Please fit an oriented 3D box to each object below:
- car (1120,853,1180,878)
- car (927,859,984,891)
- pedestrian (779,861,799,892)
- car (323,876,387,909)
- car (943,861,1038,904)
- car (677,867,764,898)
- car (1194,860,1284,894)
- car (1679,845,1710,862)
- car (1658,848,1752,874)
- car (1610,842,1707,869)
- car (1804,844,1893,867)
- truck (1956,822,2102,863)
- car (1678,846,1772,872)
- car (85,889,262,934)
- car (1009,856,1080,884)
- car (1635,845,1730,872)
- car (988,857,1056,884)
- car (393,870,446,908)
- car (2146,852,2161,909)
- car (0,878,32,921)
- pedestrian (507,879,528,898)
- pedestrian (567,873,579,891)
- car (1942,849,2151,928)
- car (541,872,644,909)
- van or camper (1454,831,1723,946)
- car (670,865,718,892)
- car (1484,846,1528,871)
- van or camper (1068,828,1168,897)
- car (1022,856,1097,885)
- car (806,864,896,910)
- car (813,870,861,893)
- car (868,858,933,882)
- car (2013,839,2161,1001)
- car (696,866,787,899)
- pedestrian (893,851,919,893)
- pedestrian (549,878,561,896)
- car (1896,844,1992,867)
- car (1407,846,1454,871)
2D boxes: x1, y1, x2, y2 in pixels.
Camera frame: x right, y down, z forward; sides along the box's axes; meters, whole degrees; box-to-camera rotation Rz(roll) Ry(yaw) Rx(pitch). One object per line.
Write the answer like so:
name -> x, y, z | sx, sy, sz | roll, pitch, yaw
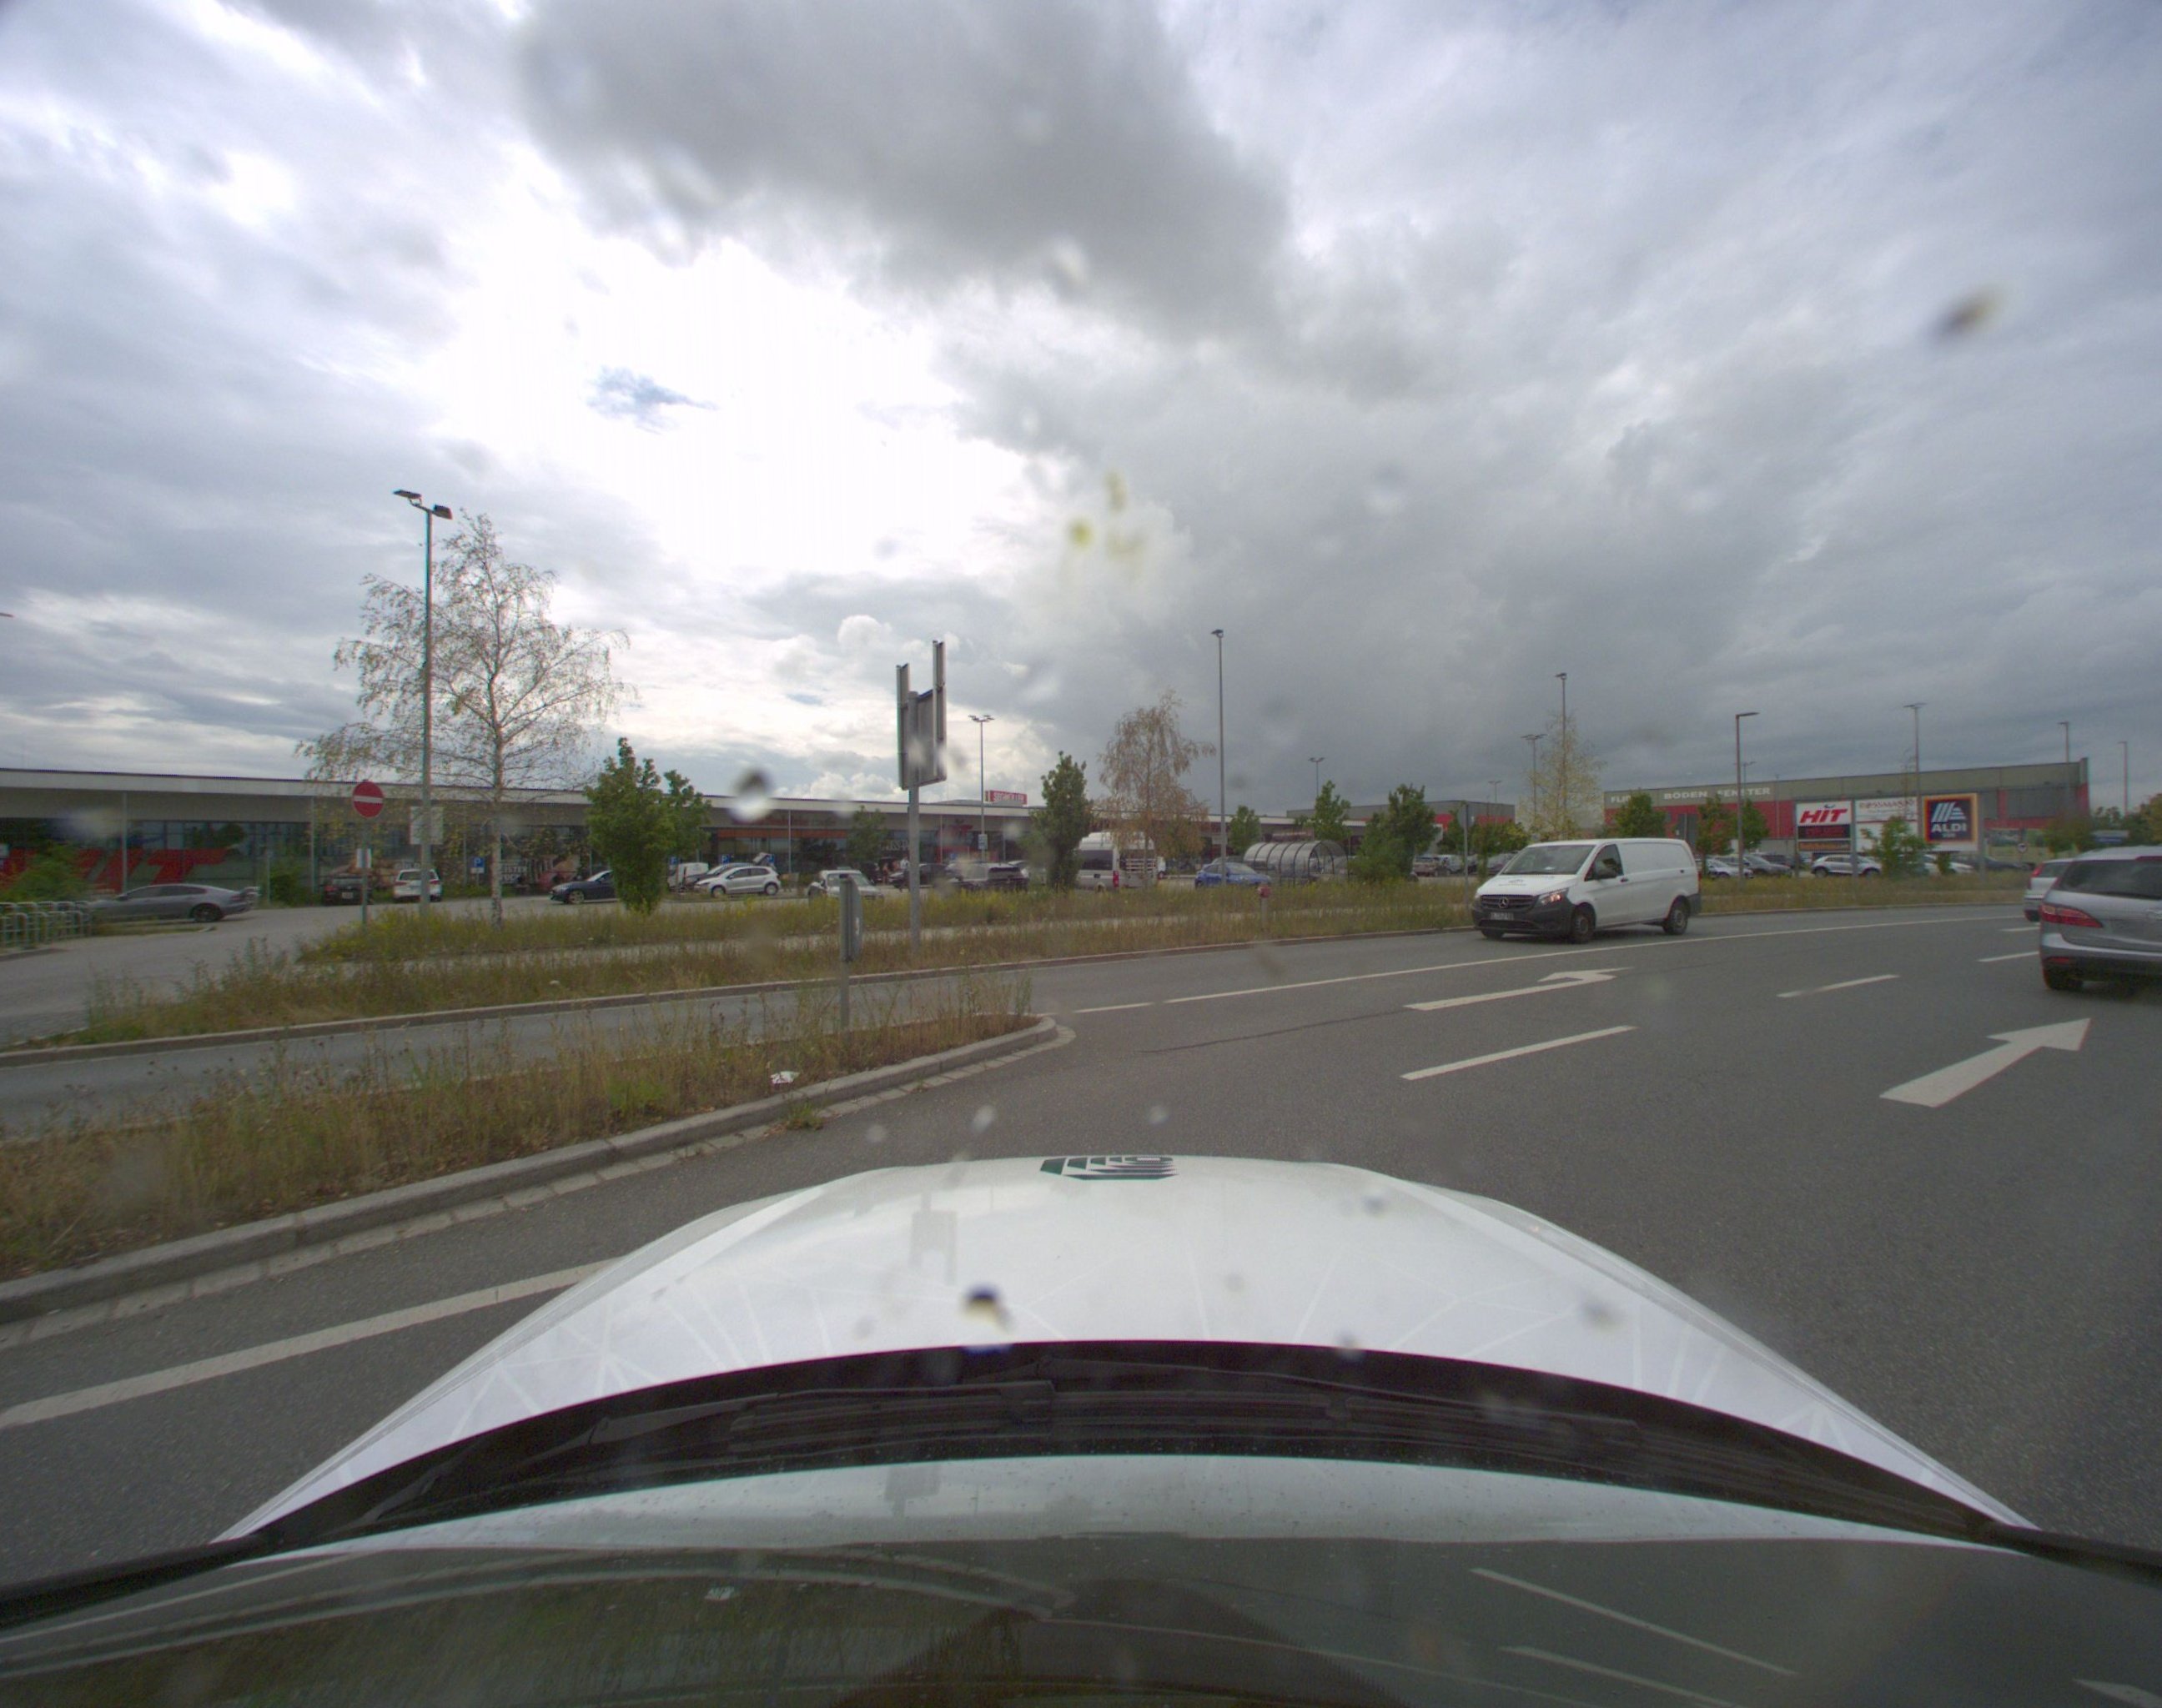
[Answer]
car -> 5.238, 0.883, 61.515 | 4.451, 1.819, 1.976 | 0, -1, -41
car -> -6.998, 1.133, 45.122 | 1.825, 1.653, 3.962 | -1, 0, -30
pedestrian -> -15.622, 1.188, 43.512 | 0.827, 1.632, 0.890 | 0, -2, -33
car -> -35.881, 1.863, 40.346 | 1.921, 1.444, 3.956 | -1, 0, -36
car -> -3.403, 1.021, 30.000 | 2.001, 1.451, 4.109 | 0, -1, -30
car -> -18.434, 1.434, 41.652 | 3.777, 1.454, 1.649 | -1, 0, -38
car -> 6.836, 0.983, 35.691 | 1.813, 1.384, 4.115 | 0, -1, -25
car -> 60.674, -0.060, 80.491 | 3.857, 1.653, 1.742 | -1, 0, -42
car -> 35.212, 0.380, 46.035 | 1.918, 1.390, 3.782 | -1, 0, -26
car -> 31.095, 0.074, 43.950 | 1.918, 1.390, 3.782 | -1, 0, -26
car -> 49.451, 0.130, 52.564 | 1.743, 1.428, 3.815 | 0, -1, -21
truck -> 71.857, -0.840, 61.840 | 8.133, 2.945, 2.679 | -1, 0, -1
car -> 37.024, 0.271, 46.915 | 1.918, 1.390, 3.782 | -1, 0, -26
car -> -32.441, 2.016, 29.323 | 4.021, 1.352, 1.976 | 0, -1, -41
car -> -2.303, 1.007, 51.338 | 4.012, 1.618, 1.981 | -1, 0, -30
car -> 33.124, 0.239, 44.967 | 1.918, 1.390, 3.782 | -1, 0, -26
car -> -3.856, 1.072, 53.616 | 4.012, 1.618, 1.981 | -1, 0, -30
car -> -33.957, 1.741, 41.893 | 1.838, 1.700, 4.187 | -1, 0, -36
car -> 30.094, 0.640, 21.237 | 4.253, 1.450, 1.787 | -1, 0, -23
car -> -41.819, 1.708, 29.085 | 5.052, 1.558, 1.976 | 0, -1, -42
pedestrian -> -36.032, 2.221, 52.074 | 0.979, 1.154, 1.120 | -1, 0, -40
pedestrian -> -32.916, 1.826, 52.737 | 0.581, 1.124, 0.555 | -1, -1, -42
car -> 20.416, 0.669, 17.222 | 3.820, 1.461, 1.787 | -1, 0, -23
car -> -21.171, 1.533, 35.376 | 3.637, 1.454, 1.648 | -1, 0, -39
van or camper -> 9.806, 0.550, 15.650 | 5.215, 1.911, 1.982 | -1, 0, -27
car -> -23.929, 1.483, 50.296 | 2.009, 1.508, 3.956 | -1, 0, -36
car -> 30.036, 0.330, 57.519 | 1.741, 1.653, 3.859 | -1, 0, 43
van or camper -> 1.363, 0.332, 31.571 | 2.294, 2.492, 3.967 | 0, -1, -25
car -> -1.274, 0.946, 48.905 | 4.012, 1.618, 1.981 | -1, 0, -30
car -> -7.875, 1.086, 27.622 | 2.001, 1.384, 4.109 | 0, -1, -30
car -> -16.825, 1.872, 56.086 | 2.009, 1.508, 3.956 | -1, 0, -36
car -> -12.570, 1.096, 56.834 | 4.018, 1.508, 1.978 | -1, 0, -37
car -> 12.409, 0.616, 9.008 | 4.412, 1.563, 1.805 | -1, 1, -28
car -> -16.424, 1.347, 39.474 | 3.777, 1.454, 1.649 | -1, 0, -38
pedestrian -> -8.645, 0.890, 40.153 | 1.006, 2.014, 0.859 | 0, -1, -30
pedestrian -> -34.141, 2.115, 52.837 | 0.581, 1.124, 0.555 | -1, -1, -42
car -> 57.505, 0.149, 54.354 | 2.003, 1.442, 3.966 | 0, -1, -25
car -> 26.662, 0.331, 62.070 | 1.975, 1.734, 4.024 | -1, 0, 44
